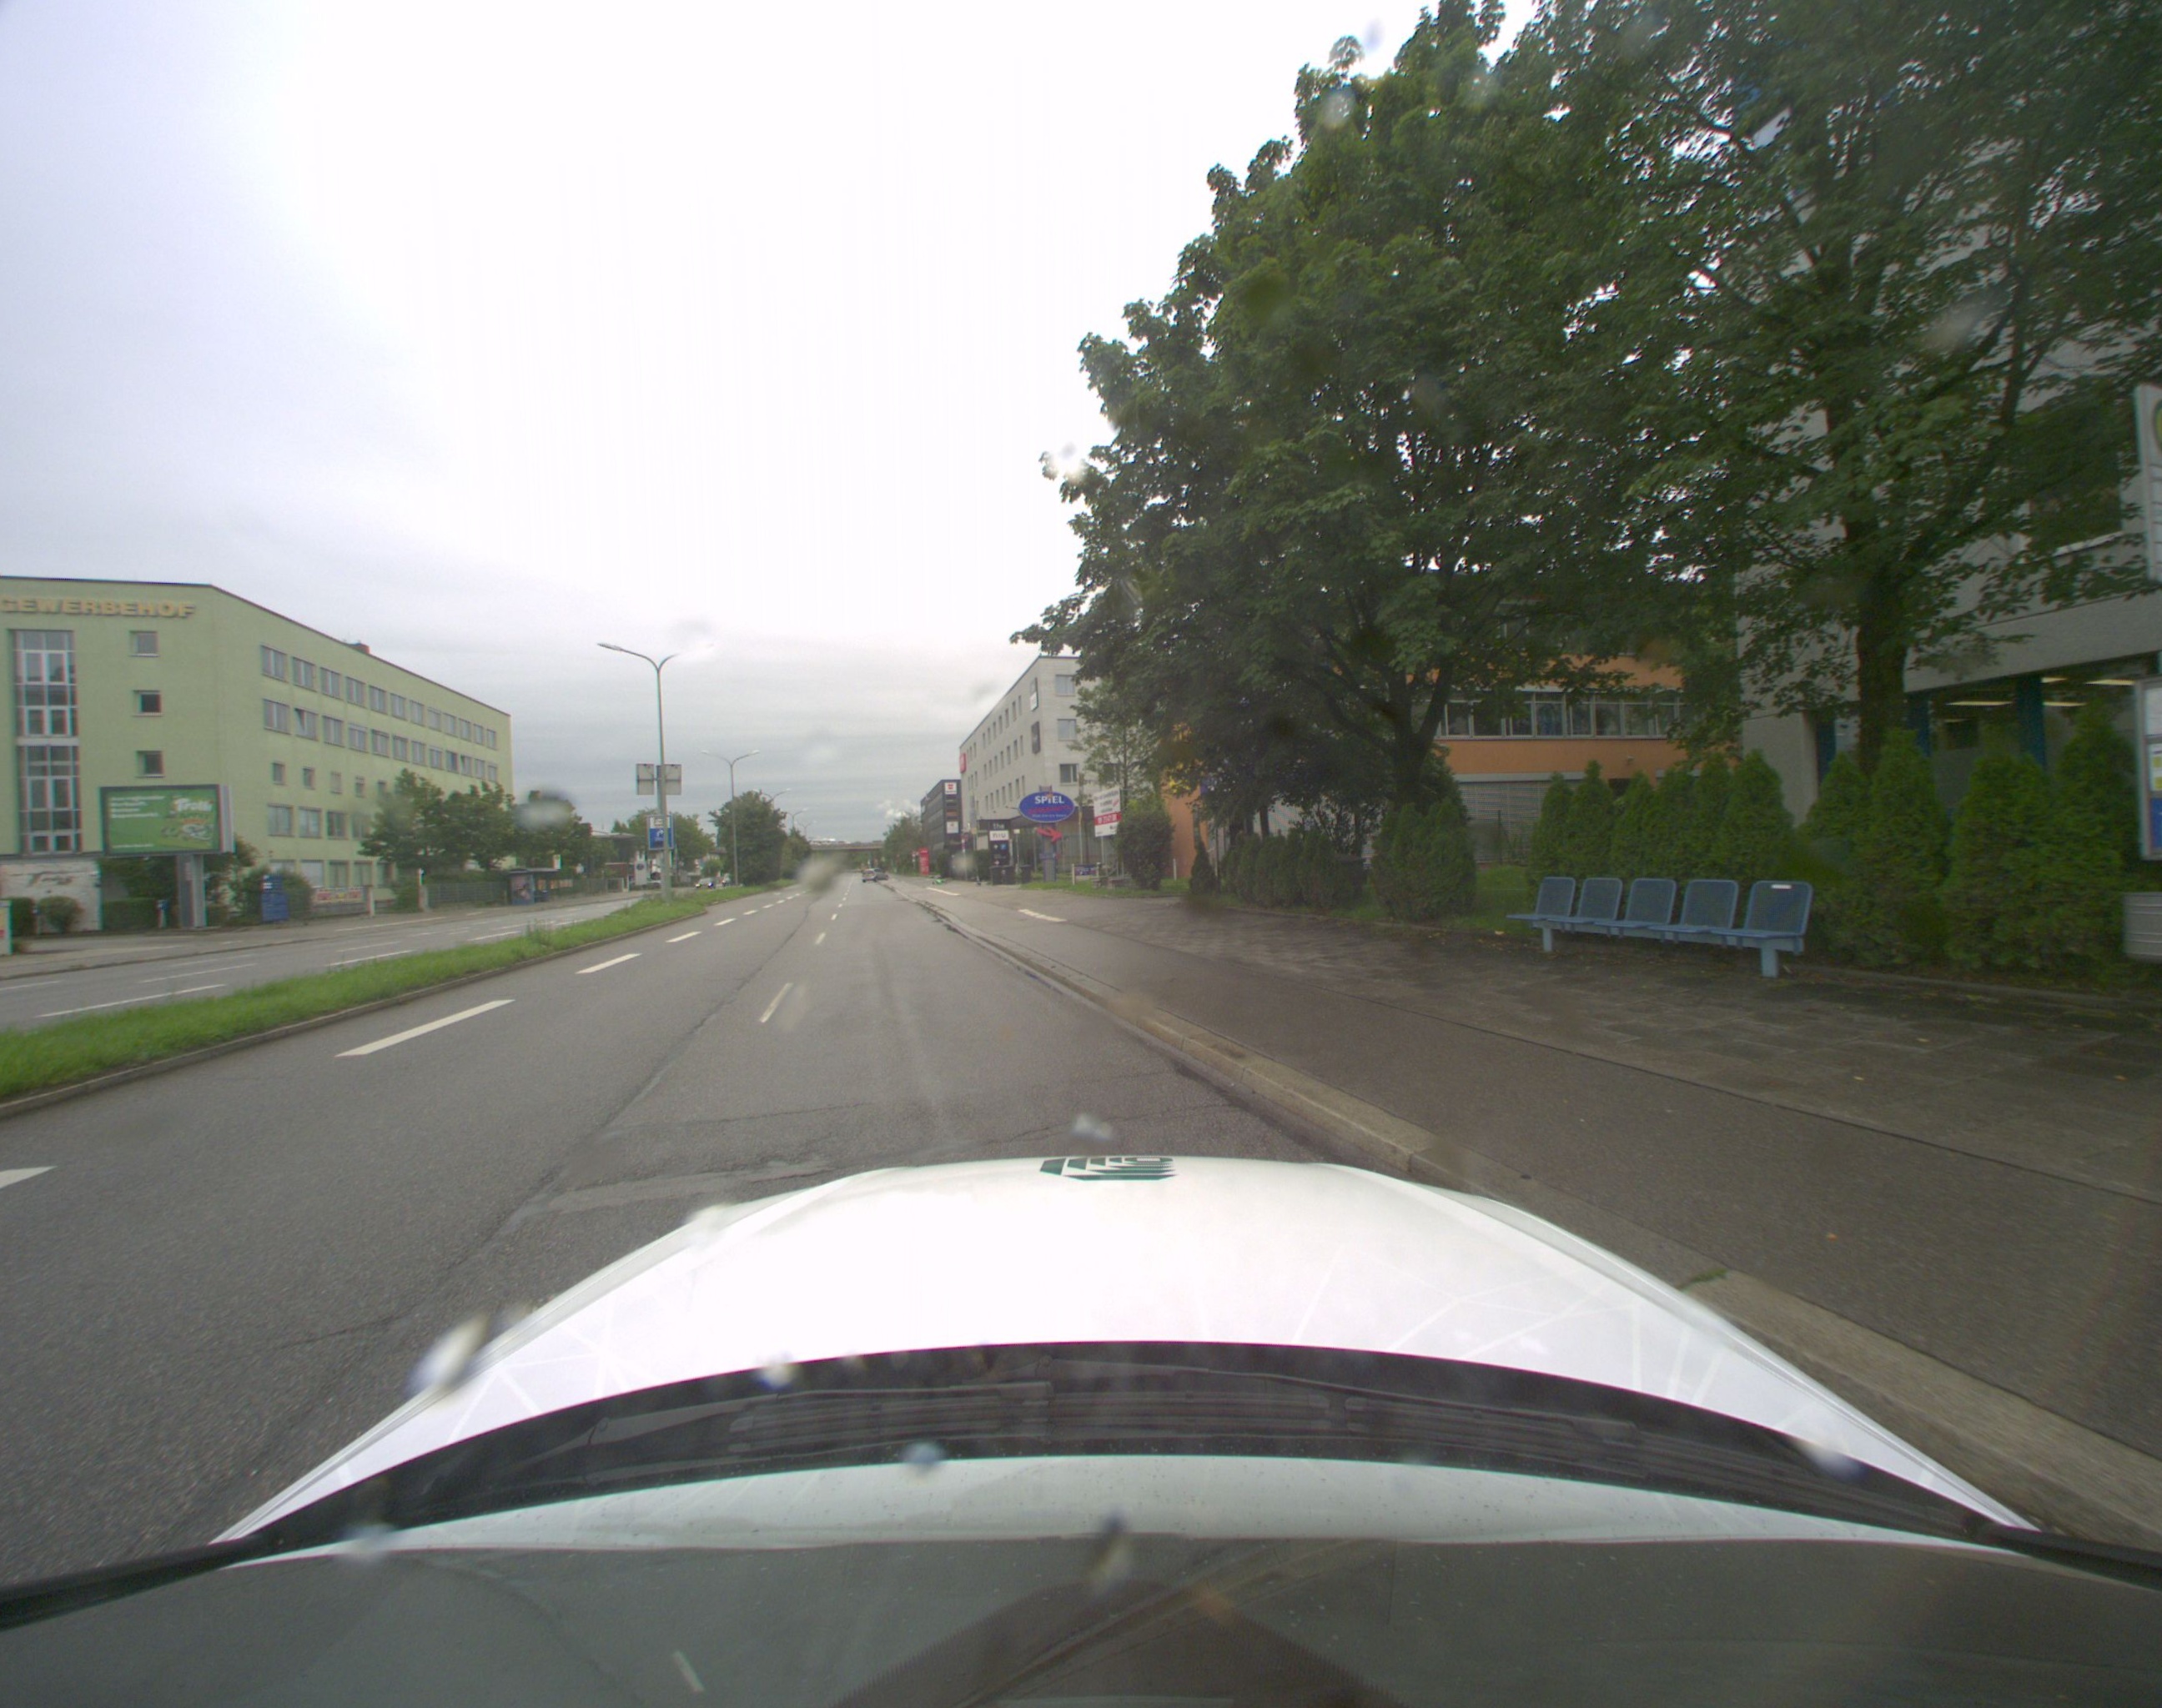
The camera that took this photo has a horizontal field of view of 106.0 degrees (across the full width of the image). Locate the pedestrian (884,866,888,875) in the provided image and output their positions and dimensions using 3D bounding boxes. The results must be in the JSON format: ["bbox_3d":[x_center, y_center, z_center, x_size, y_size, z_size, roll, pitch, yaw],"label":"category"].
[{"bbox_3d":[-42.732,3.563,178.534,0.690,1.876,0.658,-4,0,-16],"label":"pedestrian"}]

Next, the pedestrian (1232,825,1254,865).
[{"bbox_3d":[6.989,-0.387,35.209,0.657,1.712,0.661,-4,0,-5],"label":"pedestrian"}]

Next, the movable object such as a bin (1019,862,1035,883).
[{"bbox_3d":[-3.011,1.032,45.264,0.738,1.078,0.652,-4,0,-15],"label":"movable object such as a bin"}]

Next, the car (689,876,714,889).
[{"bbox_3d":[-46.792,3.525,100.491,1.998,1.401,4.628,-4,0,-17],"label":"car"}]

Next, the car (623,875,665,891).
[{"bbox_3d":[-59.474,3.963,110.858,4.670,1.842,1.780,-4,0,-39],"label":"car"}]

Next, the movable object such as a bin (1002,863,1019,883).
[{"bbox_3d":[-3.879,1.038,44.865,0.738,1.078,0.652,-4,0,-15],"label":"movable object such as a bin"}]

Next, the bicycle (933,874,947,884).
[{"bbox_3d":[-9.883,1.747,57.068,0.721,0.548,1.723,-6,1,-16],"label":"bicycle"}]

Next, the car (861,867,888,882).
[{"bbox_3d":[-24.833,2.456,98.068,1.806,1.557,4.032,-2,0,5],"label":"car"}]

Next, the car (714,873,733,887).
[{"bbox_3d":[-53.146,3.835,121.079,1.998,1.960,4.299,-4,0,-17],"label":"car"}]

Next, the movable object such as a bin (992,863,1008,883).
[{"bbox_3d":[-4.520,1.064,45.468,0.738,1.078,0.652,-4,0,-15],"label":"movable object such as a bin"}]

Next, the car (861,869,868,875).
[{"bbox_3d":[-59.578,4.831,224.507,1.739,1.548,4.280,-2,0,-16],"label":"car"}]

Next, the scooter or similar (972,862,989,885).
[{"bbox_3d":[-5.832,1.131,47.231,0.587,1.277,1.396,-8,1,-15],"label":"scooter or similar"}]
